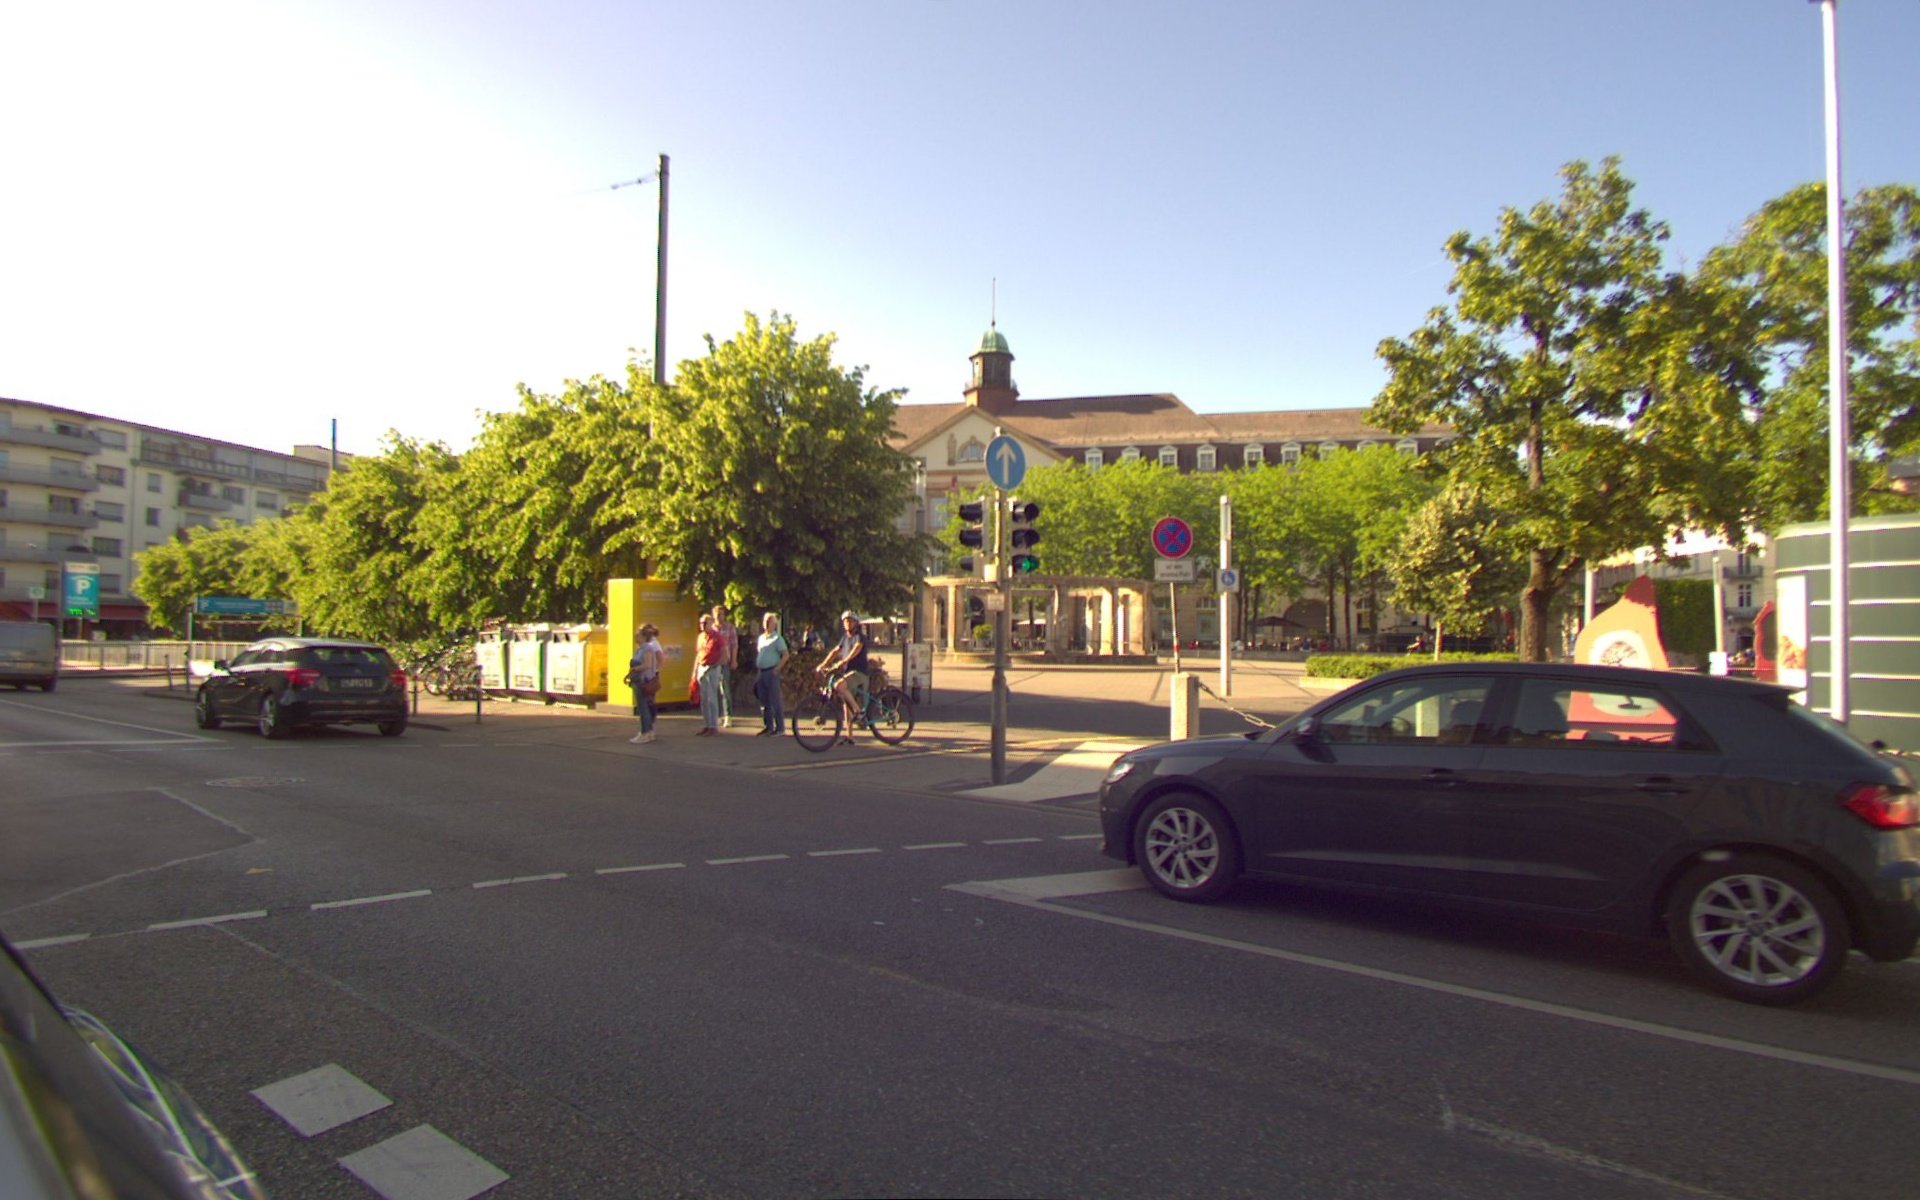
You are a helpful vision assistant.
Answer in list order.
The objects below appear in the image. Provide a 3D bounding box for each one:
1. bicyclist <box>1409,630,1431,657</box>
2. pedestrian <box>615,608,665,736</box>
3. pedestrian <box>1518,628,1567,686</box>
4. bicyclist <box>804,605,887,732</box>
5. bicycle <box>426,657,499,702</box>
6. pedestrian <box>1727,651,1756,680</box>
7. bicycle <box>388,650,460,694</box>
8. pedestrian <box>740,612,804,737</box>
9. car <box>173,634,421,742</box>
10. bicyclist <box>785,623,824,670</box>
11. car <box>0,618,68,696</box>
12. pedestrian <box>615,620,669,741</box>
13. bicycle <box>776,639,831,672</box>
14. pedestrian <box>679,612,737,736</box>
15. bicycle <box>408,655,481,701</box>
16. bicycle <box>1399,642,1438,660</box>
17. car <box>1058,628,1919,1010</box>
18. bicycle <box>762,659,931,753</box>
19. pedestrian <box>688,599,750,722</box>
[{"bbox_3d":[23.051,2.194,50.751,0.905,1.355,0.432,-1,-2,15],"label":"bicyclist"},{"bbox_3d":[-4.808,1.067,15.196,0.640,1.872,0.627,1,-3,-21],"label":"pedestrian"},{"bbox_3d":[16.691,1.616,28.984,1.059,1.608,0.874,2,-3,-40],"label":"pedestrian"},{"bbox_3d":[-1.570,0.911,13.803,0.792,1.661,0.997,1,-2,-31],"label":"bicyclist"},{"bbox_3d":[-11.745,1.862,23.931,0.363,1.010,1.541,-2,-3,36],"label":"bicycle"},{"bbox_3d":[40.922,3.435,52.999,0.938,1.476,0.776,0,-3,14],"label":"pedestrian"},{"bbox_3d":[-13.266,1.766,25.077,1.507,1.039,0.365,2,-3,-38],"label":"bicycle"},{"bbox_3d":[-2.813,1.100,15.209,0.775,1.825,0.587,0,-3,11],"label":"pedestrian"},{"bbox_3d":[-10.146,1.259,15.387,4.246,1.434,1.733,-1,-4,36],"label":"car"},{"bbox_3d":[-5.566,1.655,36.171,0.927,1.621,1.173,2,-3,-35],"label":"bicyclist"},{"bbox_3d":[-26.152,1.522,27.368,4.774,1.962,1.975,-2,-6,36],"label":"car"},{"bbox_3d":[-4.577,1.139,14.546,0.676,1.686,0.699,1,-3,-21],"label":"pedestrian"},{"bbox_3d":[-5.619,1.976,36.232,0.927,1.141,2.485,2,-3,-35],"label":"bicycle"},{"bbox_3d":[-3.804,1.105,15.310,0.771,1.825,0.590,0,-2,-7],"label":"pedestrian"},{"bbox_3d":[-12.245,1.847,24.070,0.363,1.039,1.531,-2,-3,36],"label":"bicycle"},{"bbox_3d":[22.977,2.553,50.774,1.697,0.877,0.522,-1,-2,15],"label":"bicycle"},{"bbox_3d":[2.692,0.916,5.448,4.036,1.408,1.635,-2,-6,37],"label":"car"},{"bbox_3d":[-1.533,1.401,13.819,2.139,1.080,0.766,-1,-1,-32],"label":"bicycle"},{"bbox_3d":[-3.913,0.975,16.439,0.783,1.933,0.601,-2,-3,39],"label":"pedestrian"}]
